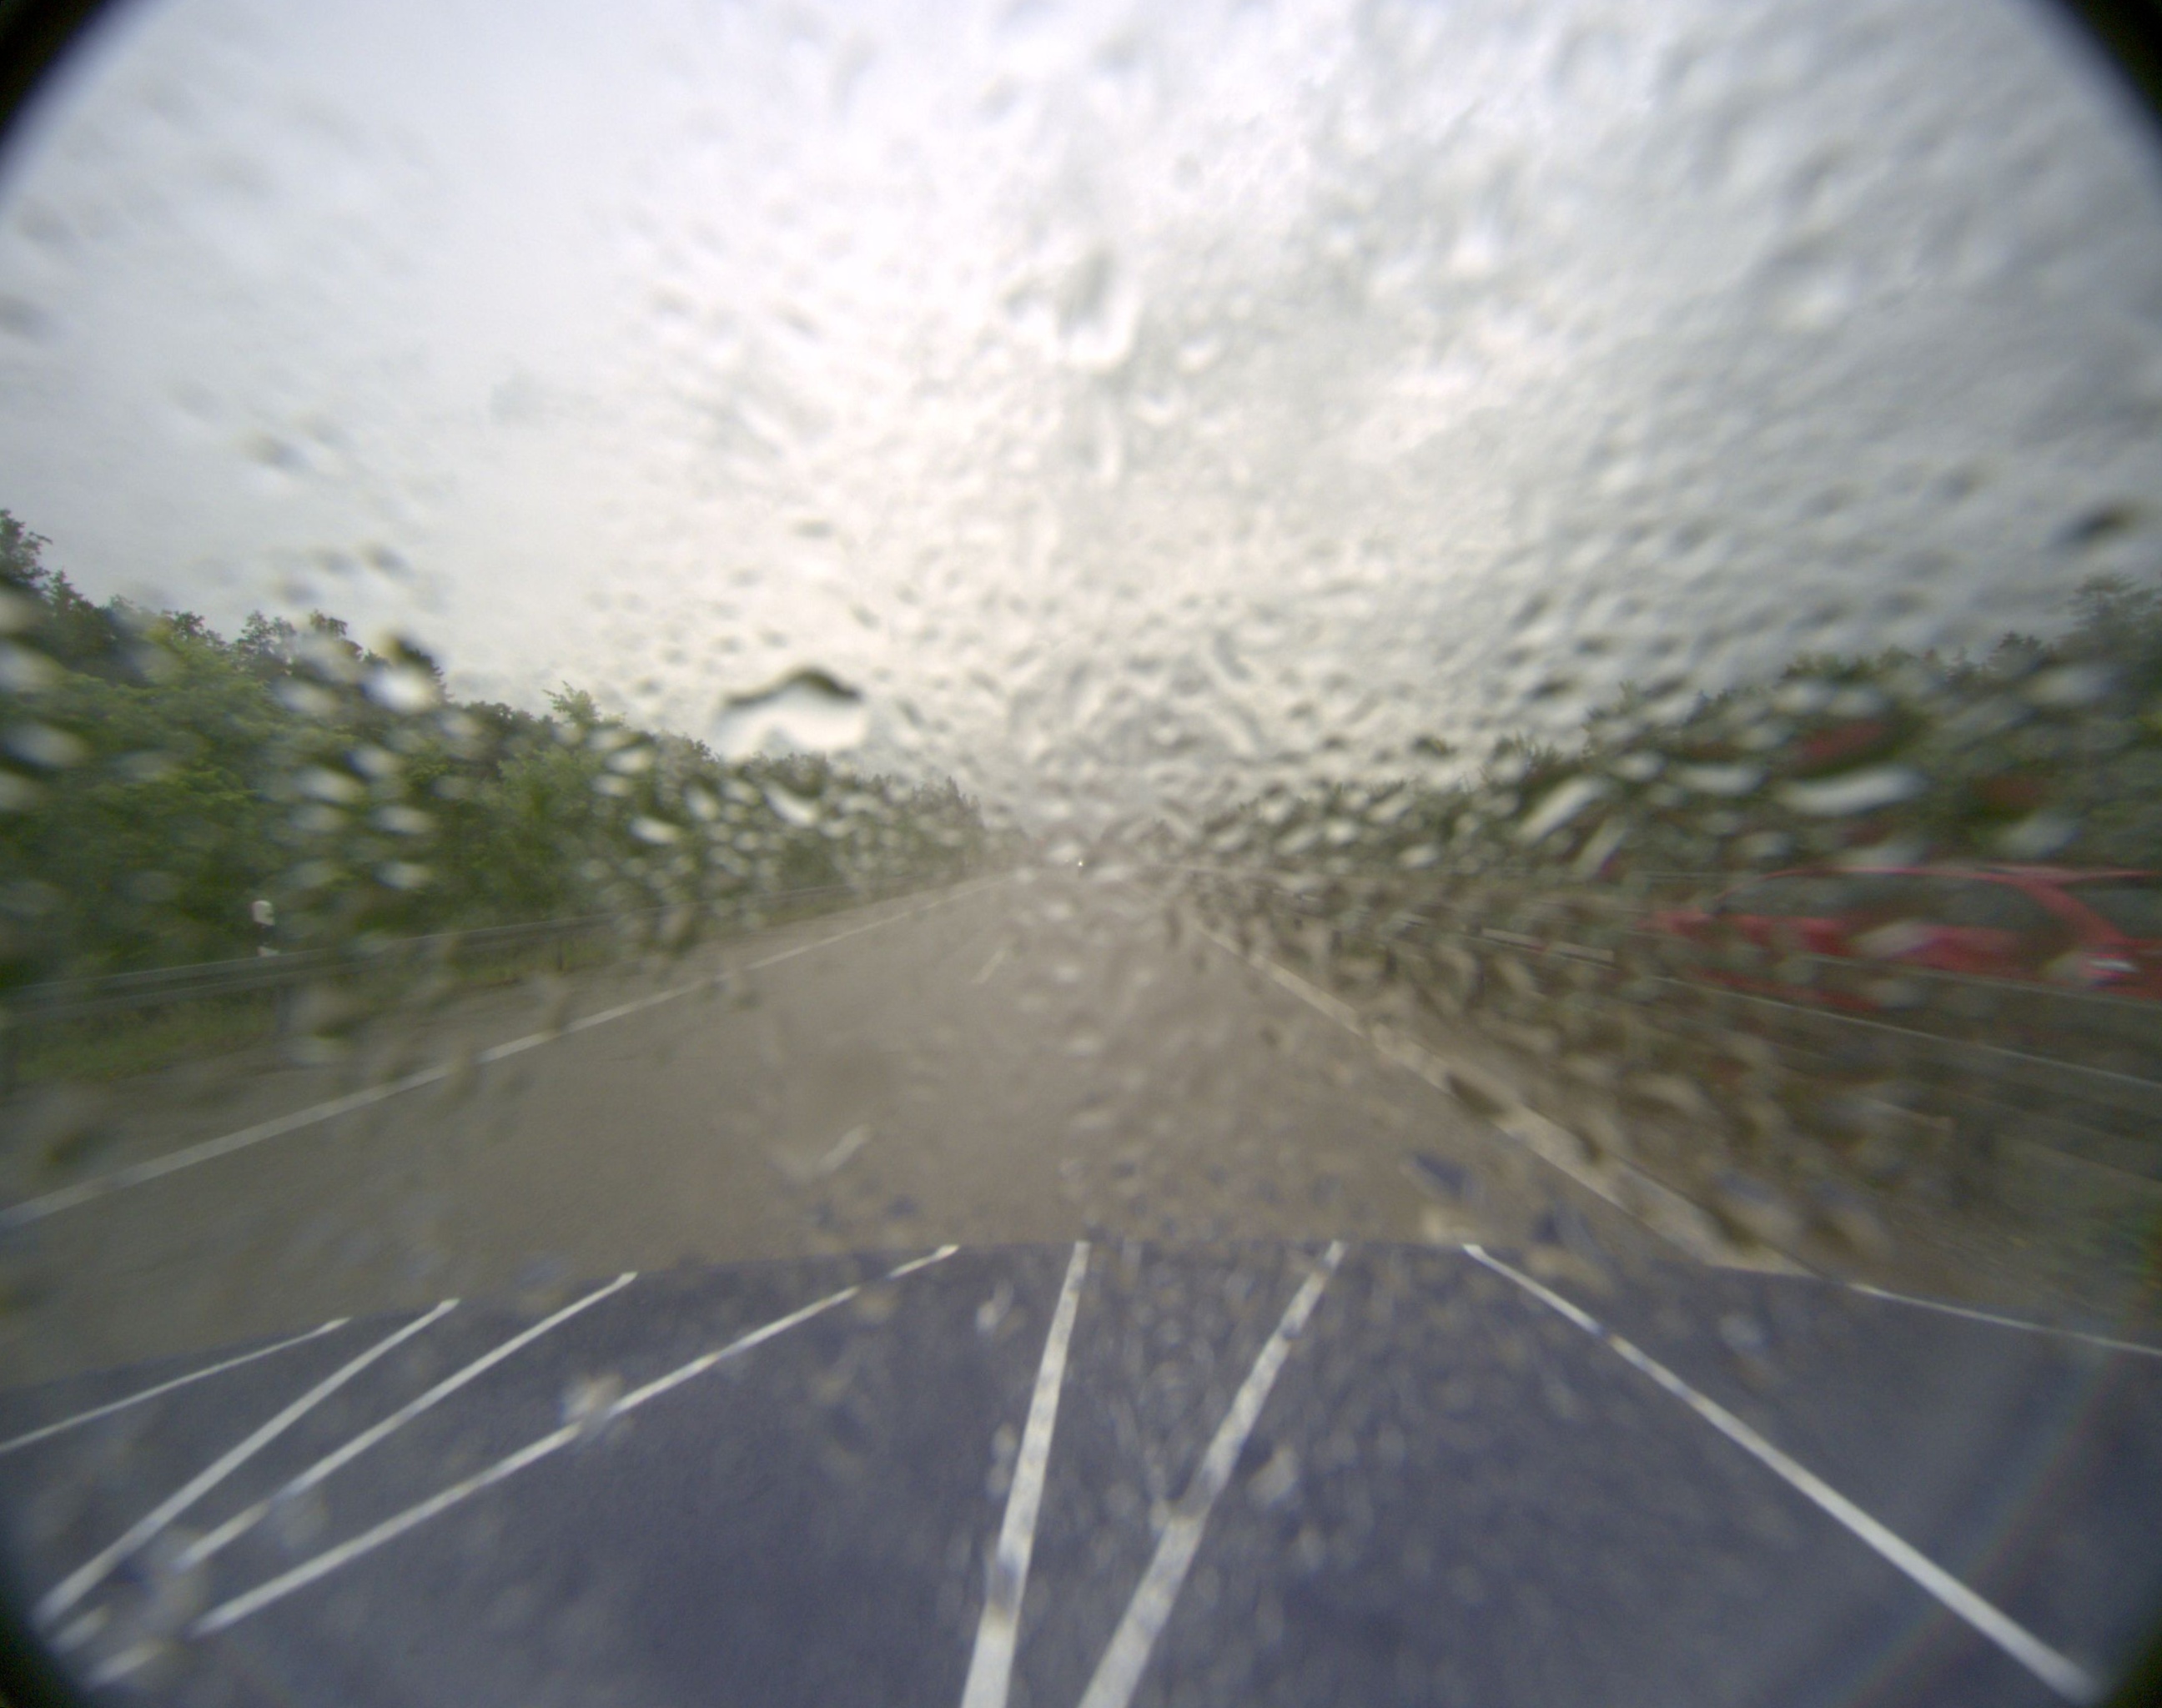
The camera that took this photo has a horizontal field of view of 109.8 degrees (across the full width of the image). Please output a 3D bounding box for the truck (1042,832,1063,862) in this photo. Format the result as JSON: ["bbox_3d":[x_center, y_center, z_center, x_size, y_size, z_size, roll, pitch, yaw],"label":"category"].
[{"bbox_3d":[-3.948,-0.972,106.395,2.766,4.063,5.437,1,-1,-2],"label":"truck"}]

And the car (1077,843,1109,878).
[{"bbox_3d":[0.726,0.444,47.967,1.795,2.113,4.524,1,-1,-2],"label":"car"}]

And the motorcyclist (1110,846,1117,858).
[{"bbox_3d":[6.544,-0.369,152.897,1.265,2.216,1.697,-3,1,-3],"label":"motorcyclist"}]

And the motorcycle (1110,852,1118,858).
[{"bbox_3d":[6.582,0.180,152.763,1.269,1.136,2.961,-3,0,-4],"label":"motorcycle"}]

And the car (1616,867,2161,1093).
[{"bbox_3d":[7.074,0.855,6.857,1.768,1.455,3.847,1,-1,0],"label":"car"}]
